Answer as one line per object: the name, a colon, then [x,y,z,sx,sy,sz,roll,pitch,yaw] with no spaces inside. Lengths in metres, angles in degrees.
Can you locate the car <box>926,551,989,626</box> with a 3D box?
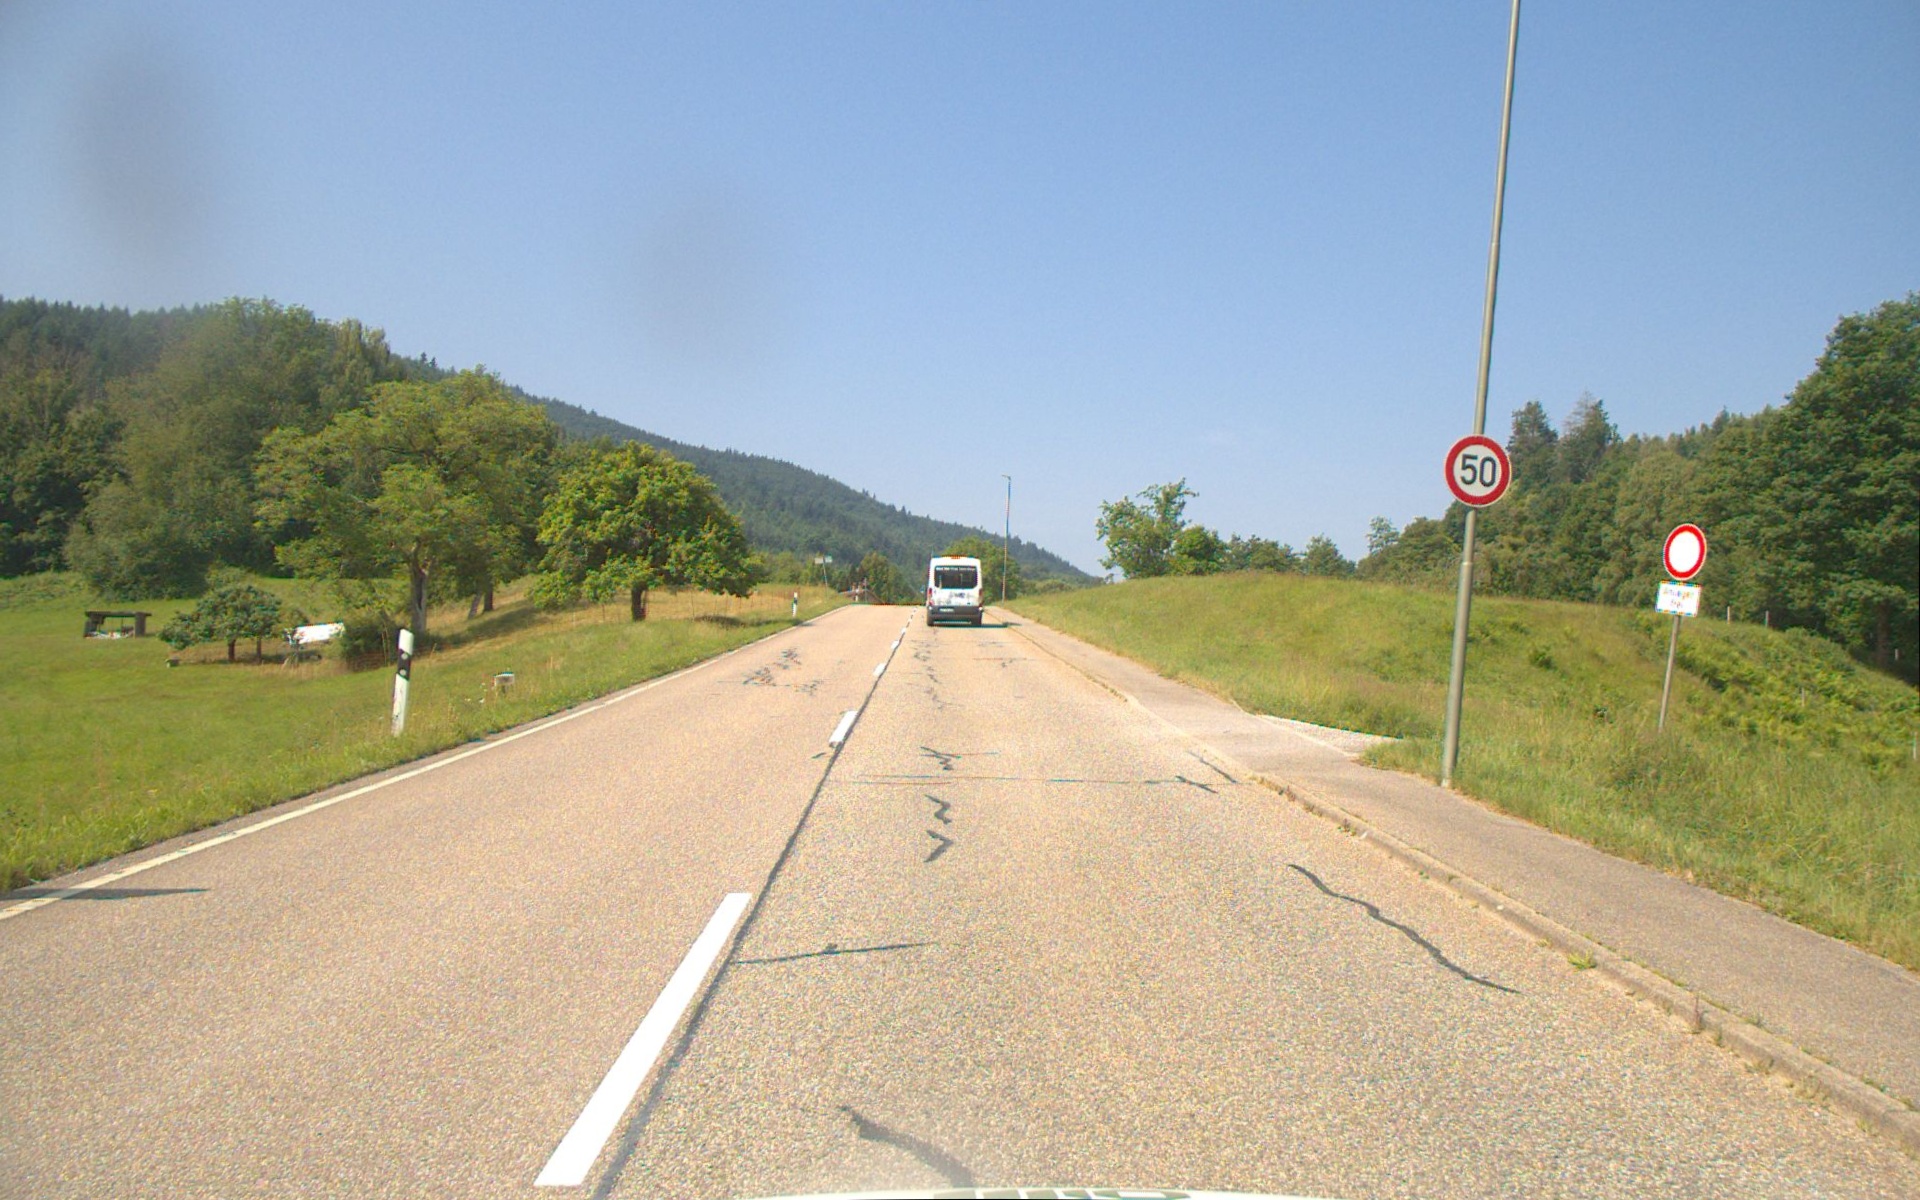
car: [-0.139,-0.361,61.283,2.177,2.570,4.983,-1,-1,-1]
